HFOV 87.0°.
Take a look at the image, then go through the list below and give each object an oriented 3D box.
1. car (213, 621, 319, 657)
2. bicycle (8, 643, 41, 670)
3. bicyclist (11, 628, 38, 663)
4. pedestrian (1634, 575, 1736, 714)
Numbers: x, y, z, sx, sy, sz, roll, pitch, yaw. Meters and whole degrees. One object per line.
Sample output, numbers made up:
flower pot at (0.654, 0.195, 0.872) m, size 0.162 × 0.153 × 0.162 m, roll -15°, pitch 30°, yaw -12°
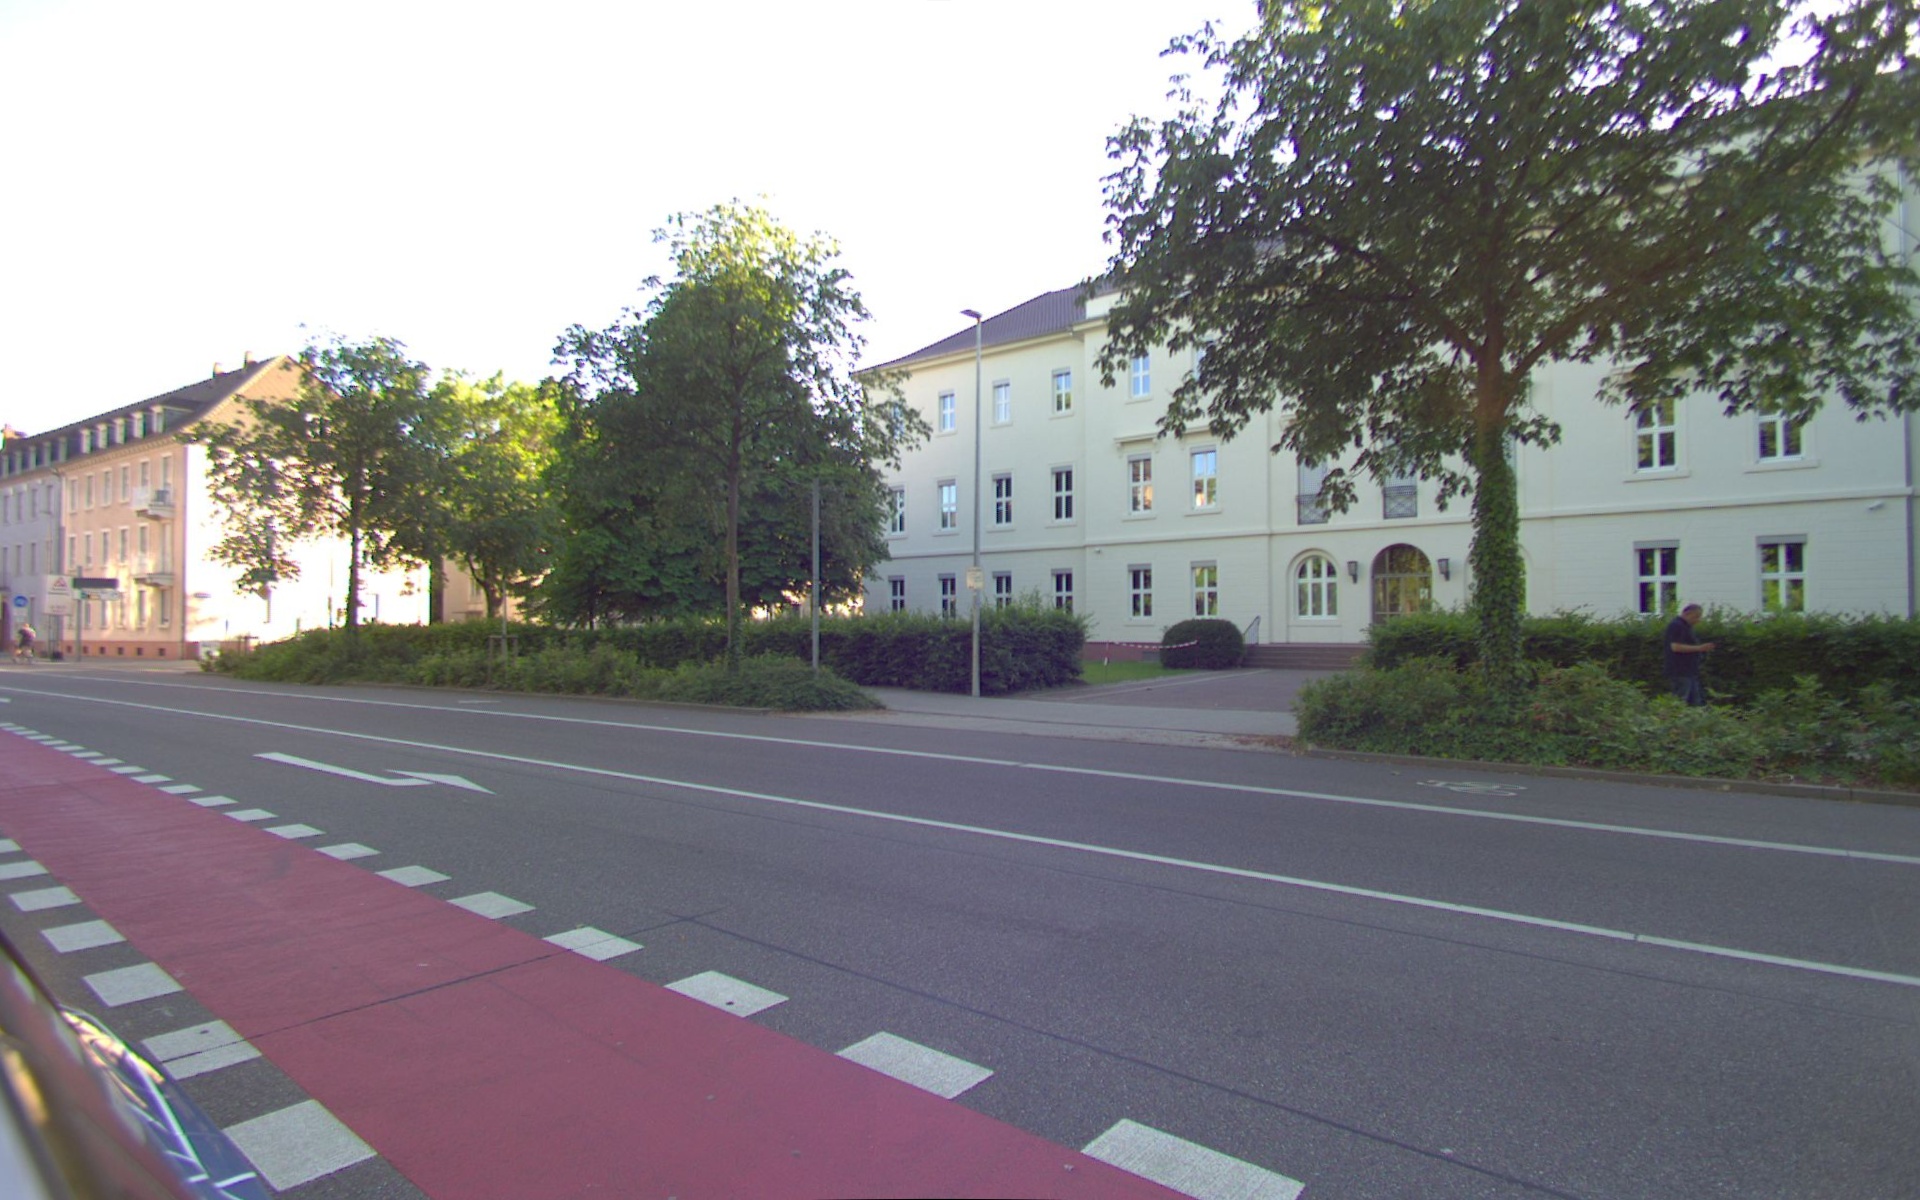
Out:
car at (-34.667, 1.929, 50.648) m, size 1.993 × 1.674 × 3.958 m, roll -1°, pitch -1°, yaw 31°
bicycle at (-41.624, 2.485, 45.015) m, size 2.242 × 1.168 × 0.688 m, roll -2°, pitch -4°, yaw 38°
bicyclist at (-41.668, 2.025, 45.077) m, size 0.837 × 1.574 × 0.683 m, roll -2°, pitch -4°, yaw 37°
pedestrian at (9.542, 0.581, 13.320) m, size 0.968 × 1.733 × 0.825 m, roll -2°, pitch -3°, yaw 42°
